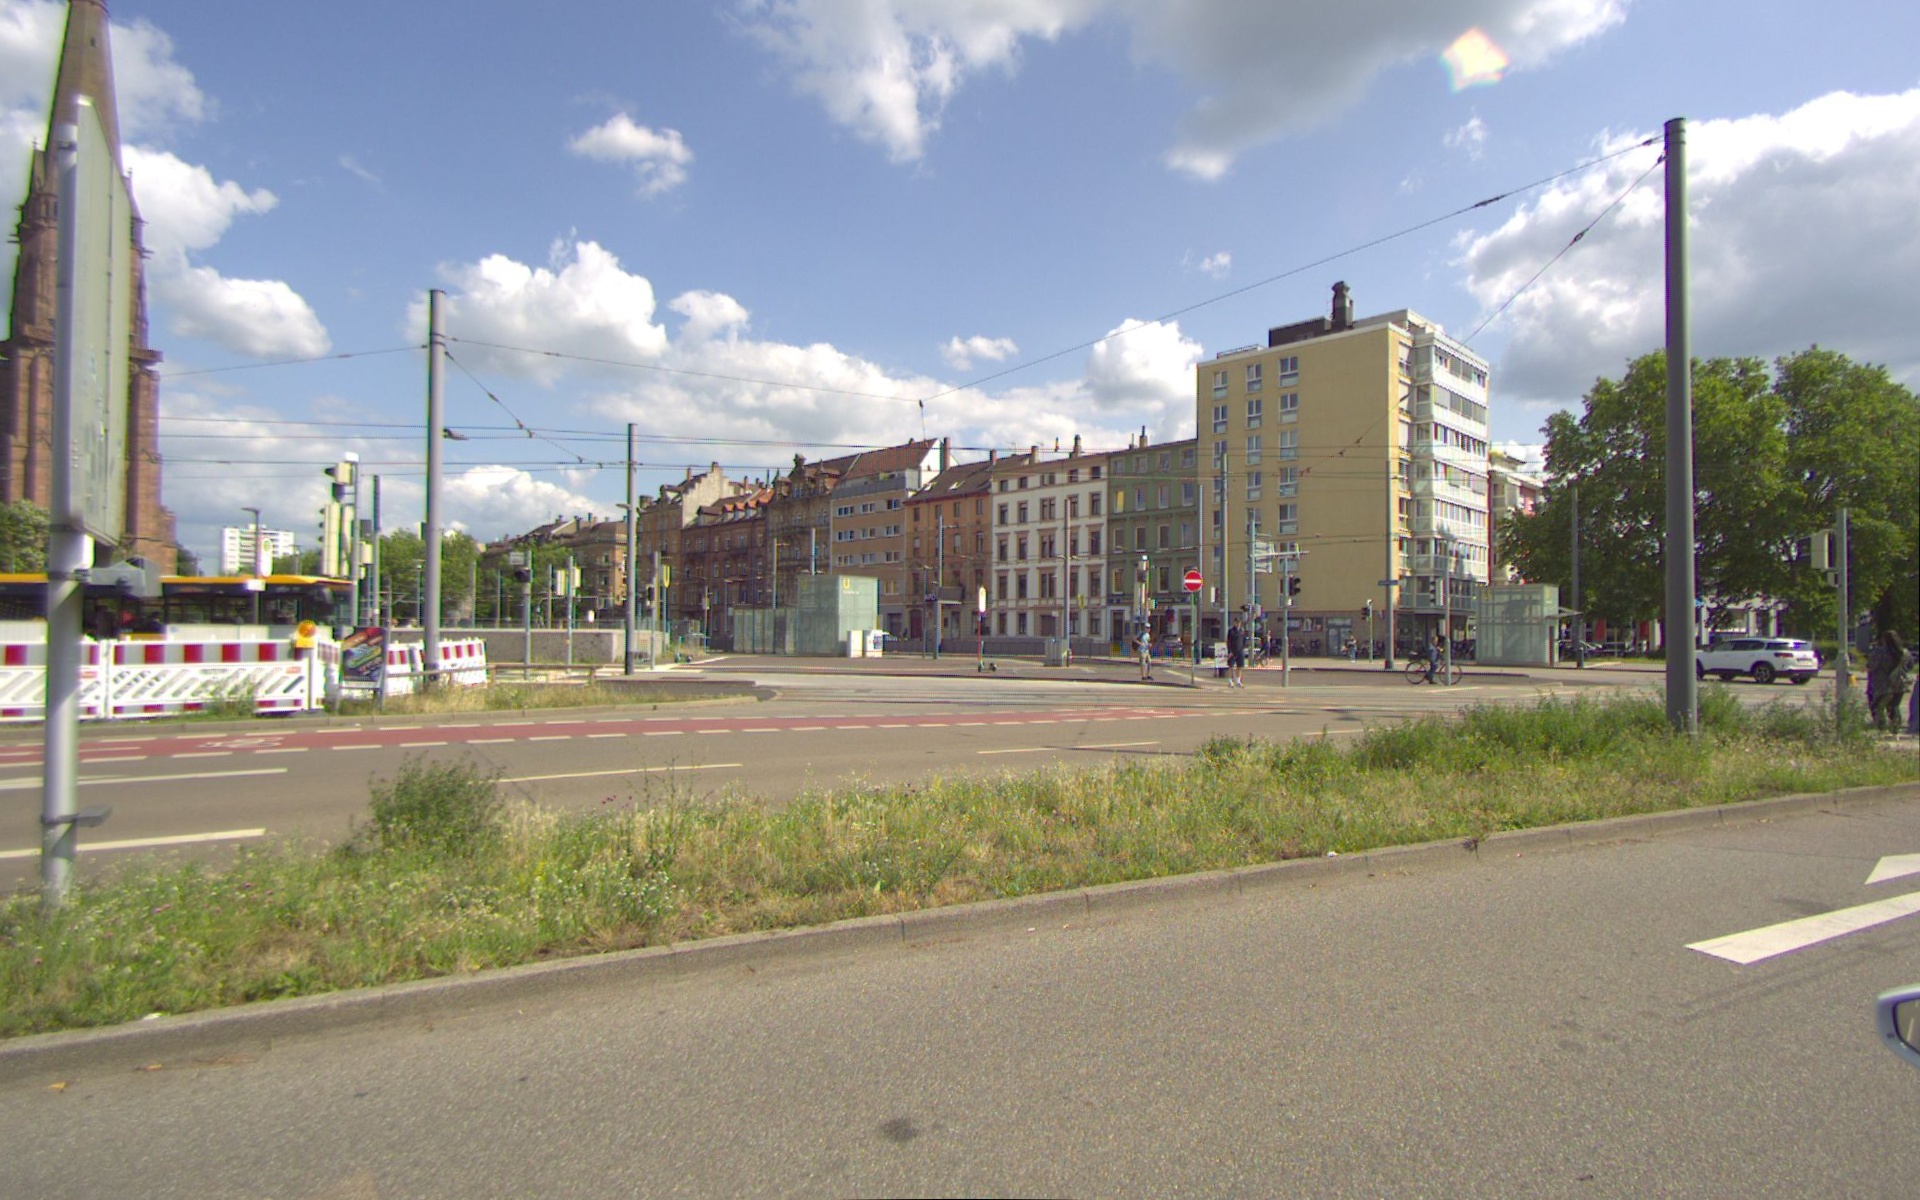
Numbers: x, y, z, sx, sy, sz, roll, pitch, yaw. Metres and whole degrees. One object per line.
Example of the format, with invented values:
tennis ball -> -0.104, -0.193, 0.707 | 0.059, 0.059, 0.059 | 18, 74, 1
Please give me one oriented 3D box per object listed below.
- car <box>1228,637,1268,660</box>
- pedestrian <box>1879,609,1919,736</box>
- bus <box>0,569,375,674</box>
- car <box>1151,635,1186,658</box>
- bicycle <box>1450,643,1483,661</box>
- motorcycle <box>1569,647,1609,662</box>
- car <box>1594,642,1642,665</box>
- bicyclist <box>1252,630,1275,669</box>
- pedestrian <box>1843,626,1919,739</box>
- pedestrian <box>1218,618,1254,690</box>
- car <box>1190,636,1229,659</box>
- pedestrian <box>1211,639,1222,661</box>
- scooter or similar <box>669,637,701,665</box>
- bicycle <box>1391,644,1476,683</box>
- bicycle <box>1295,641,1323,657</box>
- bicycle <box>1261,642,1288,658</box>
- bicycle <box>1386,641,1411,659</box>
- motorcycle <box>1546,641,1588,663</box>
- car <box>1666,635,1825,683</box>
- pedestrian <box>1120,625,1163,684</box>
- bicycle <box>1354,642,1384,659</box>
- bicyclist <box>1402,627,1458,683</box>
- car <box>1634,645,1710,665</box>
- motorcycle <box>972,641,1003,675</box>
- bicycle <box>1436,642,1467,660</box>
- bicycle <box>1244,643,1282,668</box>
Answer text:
car -> 19.421, 3.280, 67.888 | 1.861, 1.516, 3.903 | 1, -3, 4
pedestrian -> 14.954, 1.129, 15.586 | 0.685, 1.942, 0.843 | 2, -3, -31
bus -> -26.251, 0.719, 32.716 | 12.588, 3.177, 2.835 | 1, -2, -1
car -> 14.806, 3.328, 71.414 | 1.862, 1.516, 3.902 | 1, -3, 3
bicycle -> 34.521, 3.534, 68.466 | 1.921, 1.162, 0.793 | -1, -2, 41
motorcycle -> 40.250, 3.483, 64.334 | 2.003, 0.929, 0.812 | -1, -2, 6
car -> 45.147, 3.680, 68.890 | 3.973, 1.431, 1.888 | 4, -4, -43
bicyclist -> 14.633, 2.381, 48.454 | 0.768, 1.821, 0.707 | 2, -1, 41
pedestrian -> 14.223, 1.252, 15.414 | 0.685, 1.669, 0.843 | 2, -3, -31
pedestrian -> 7.588, 1.466, 27.616 | 0.753, 1.928, 0.826 | 2, 0, 28
car -> 17.047, 3.258, 68.806 | 1.862, 1.516, 3.902 | 1, -3, 3
pedestrian -> 18.396, 3.612, 71.994 | 0.687, 1.554, 0.555 | -1, -3, 28
scooter or similar -> -11.808, 2.185, 43.227 | 0.836, 1.120, 1.646 | 2, -1, 2
bicycle -> 15.118, 2.022, 32.125 | 0.984, 1.204, 2.280 | 2, -3, -33
bicycle -> 25.272, 3.513, 72.803 | 1.783, 1.118, 0.793 | 0, -2, 40
bicycle -> 23.369, 3.685, 74.624 | 1.783, 1.118, 0.793 | 0, -2, 40
bicycle -> 30.416, 3.468, 69.652 | 1.792, 1.275, 0.789 | 2, -2, -35
motorcycle -> 36.746, 3.127, 60.847 | 0.890, 1.254, 2.213 | 0, -2, -13
car -> 29.387, 2.162, 37.777 | 2.010, 1.599, 4.530 | 1, -1, -11
pedestrian -> 5.709, 1.706, 31.621 | 1.015, 1.821, 0.762 | 2, 0, -28
bicycle -> 28.315, 3.490, 69.544 | 1.783, 1.118, 0.793 | 0, -2, 40
bicyclist -> 15.066, 1.767, 32.210 | 0.984, 1.753, 1.290 | 2, -3, -33
car -> 48.757, 3.765, 68.852 | 1.616, 1.344, 3.965 | 3, -4, -32
motorcycle -> 1.013, 2.138, 37.230 | 0.478, 1.253, 1.436 | 2, -3, -28
bicycle -> 33.291, 3.470, 68.020 | 1.783, 1.162, 0.793 | -1, -2, 41
bicycle -> 14.602, 2.656, 48.411 | 0.876, 1.153, 2.346 | 2, -1, 40
